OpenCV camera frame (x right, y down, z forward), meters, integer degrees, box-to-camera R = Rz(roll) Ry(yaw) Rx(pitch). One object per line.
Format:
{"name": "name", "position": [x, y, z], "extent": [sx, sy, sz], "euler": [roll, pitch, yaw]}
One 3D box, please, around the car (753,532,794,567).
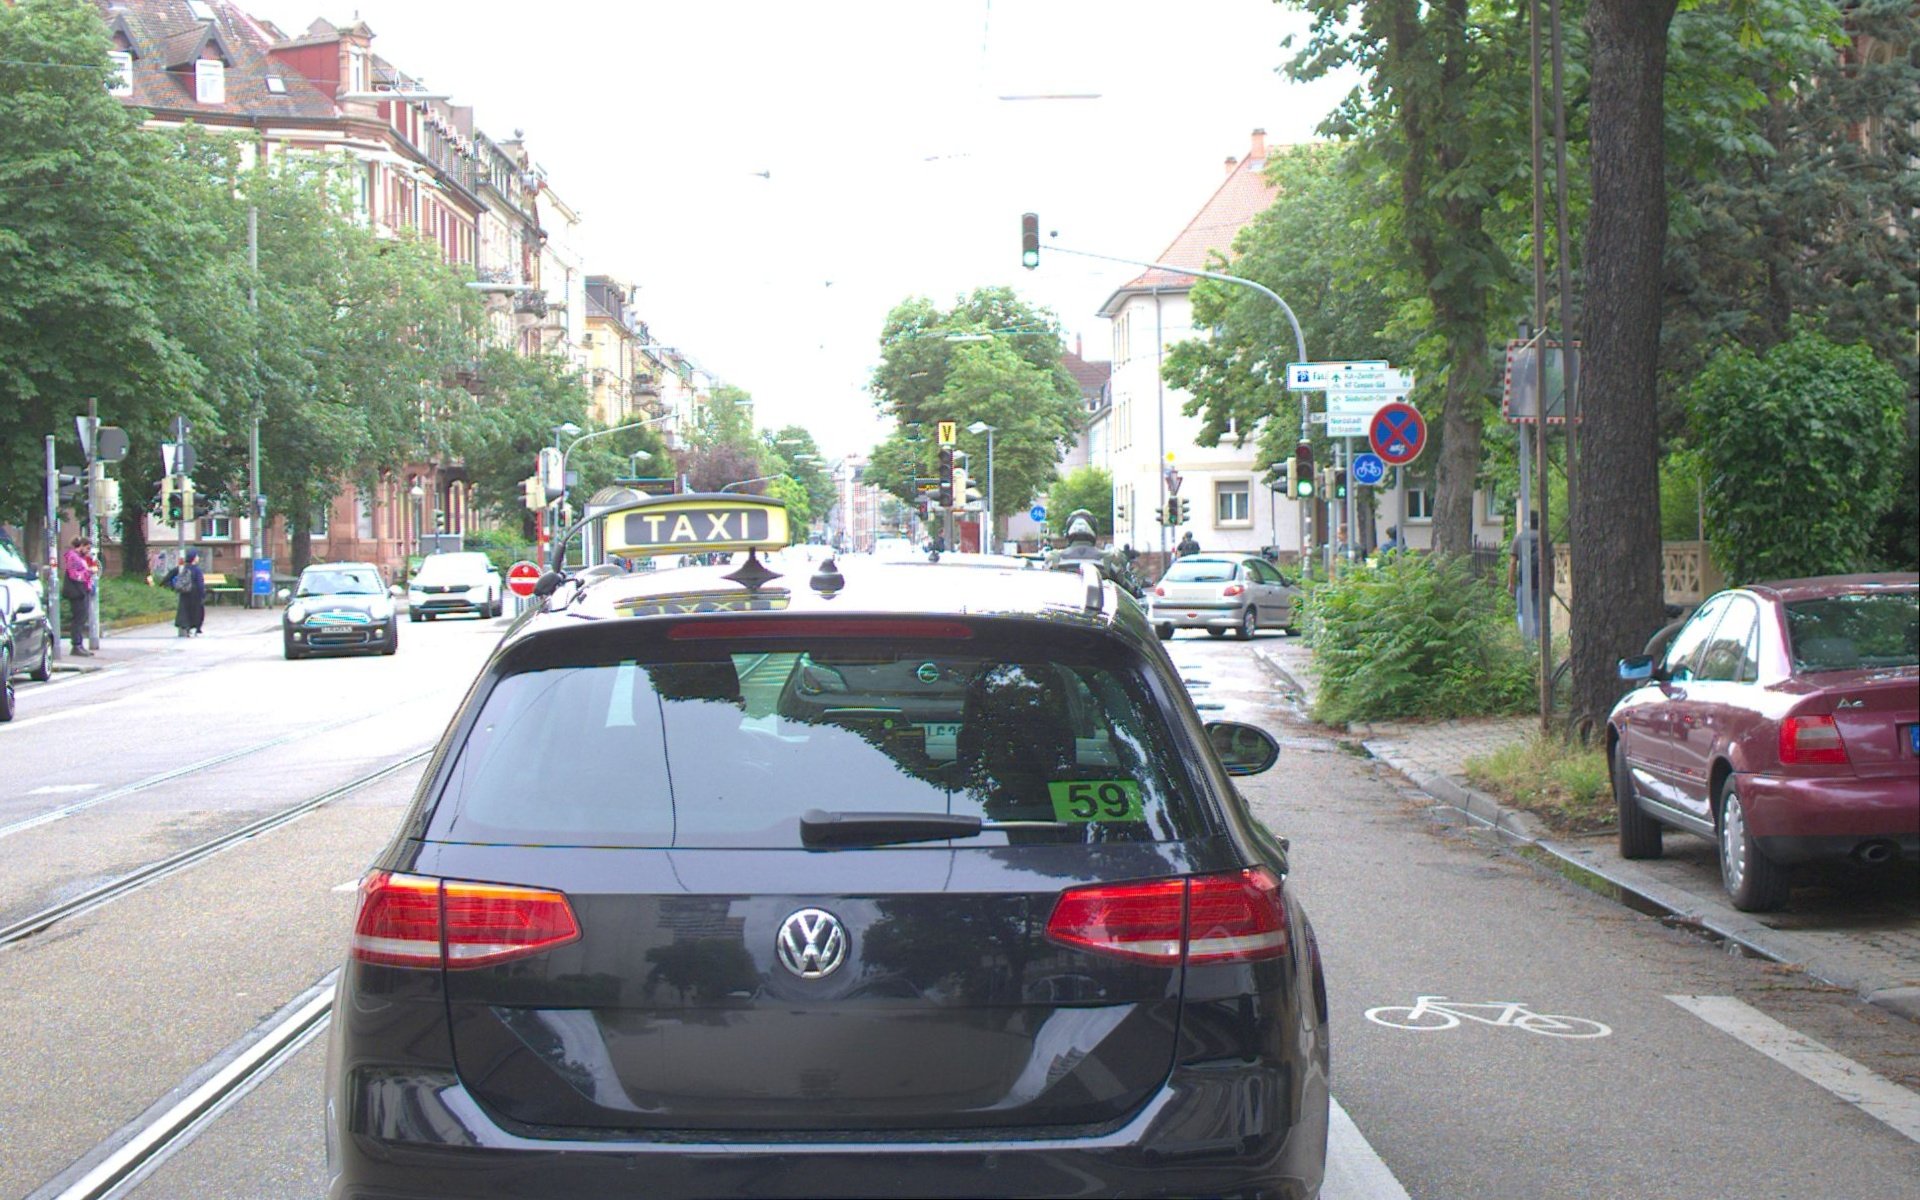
{"name": "car", "position": [-8.708, -2.366, 160.517], "extent": [1.721, 1.617, 3.864], "euler": [-1, 1, -1]}

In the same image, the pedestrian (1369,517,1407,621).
{"name": "pedestrian", "position": [7.674, -0.554, 61.616], "extent": [0.514, 1.824, 0.417], "euler": [-3, 1, 16]}

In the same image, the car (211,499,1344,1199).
{"name": "car", "position": [-0.297, 0.581, 7.245], "extent": [1.723, 1.541, 4.000], "euler": [0, 1, -1]}

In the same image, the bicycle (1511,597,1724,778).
{"name": "bicycle", "position": [4.503, 0.579, 23.461], "extent": [0.433, 1.194, 1.899], "euler": [0, 0, 45]}

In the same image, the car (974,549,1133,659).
{"name": "car", "position": [1.335, 0.030, 47.371], "extent": [1.892, 1.403, 3.999], "euler": [-1, 1, 6]}

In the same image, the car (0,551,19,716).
{"name": "car", "position": [-10.166, 0.385, 32.460], "extent": [1.882, 1.606, 4.889], "euler": [-3, 1, -9]}

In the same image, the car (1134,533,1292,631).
{"name": "car", "position": [4.293, -0.302, 57.797], "extent": [1.995, 1.572, 3.997], "euler": [1, 0, 14]}

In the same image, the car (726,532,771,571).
{"name": "car", "position": [-8.955, -2.066, 145.792], "extent": [1.721, 1.617, 3.864], "euler": [-1, 1, -1]}

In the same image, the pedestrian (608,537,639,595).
{"name": "pedestrian", "position": [-8.827, -0.903, 90.214], "extent": [0.714, 1.515, 0.590], "euler": [-1, 1, 1]}

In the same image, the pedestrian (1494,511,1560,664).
{"name": "pedestrian", "position": [6.820, -0.156, 41.392], "extent": [0.632, 1.808, 0.726], "euler": [-1, 1, -3]}

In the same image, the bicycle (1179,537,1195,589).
{"name": "bicycle", "position": [5.456, -0.896, 82.562], "extent": [0.297, 1.219, 1.430], "euler": [-1, 1, 7]}

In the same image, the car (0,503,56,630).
{"name": "car", "position": [-20.068, -0.650, 67.519], "extent": [2.180, 2.409, 5.377], "euler": [-1, 1, -43]}

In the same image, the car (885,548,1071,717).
{"name": "car", "position": [0.143, 0.272, 33.815], "extent": [1.723, 1.541, 4.000], "euler": [0, 1, -1]}

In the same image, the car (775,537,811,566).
{"name": "car", "position": [-8.616, -2.514, 178.010], "extent": [1.721, 1.460, 3.864], "euler": [-1, 1, -1]}

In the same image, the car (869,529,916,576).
{"name": "car", "position": [-2.938, -2.077, 150.906], "extent": [2.033, 2.007, 4.000], "euler": [0, 0, -1]}

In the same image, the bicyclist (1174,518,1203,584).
{"name": "bicyclist", "position": [5.499, -1.184, 82.676], "extent": [0.651, 1.563, 0.695], "euler": [-1, 1, 6]}

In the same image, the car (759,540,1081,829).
{"name": "car", "position": [-0.237, 0.419, 20.429], "extent": [1.723, 1.541, 4.000], "euler": [0, 1, -1]}

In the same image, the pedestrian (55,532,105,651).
{"name": "pedestrian", "position": [-13.718, -0.132, 53.625], "extent": [0.623, 1.836, 0.610], "euler": [-1, 1, -3]}

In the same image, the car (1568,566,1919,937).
{"name": "car", "position": [4.051, 0.591, 15.975], "extent": [1.602, 1.394, 4.227], "euler": [-2, 1, -1]}

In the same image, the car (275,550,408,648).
{"name": "car", "position": [-9.610, -0.038, 53.597], "extent": [1.608, 1.417, 3.487], "euler": [-2, 1, -4]}

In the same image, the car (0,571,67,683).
{"name": "car", "position": [-12.977, 0.312, 45.034], "extent": [1.648, 1.357, 4.130], "euler": [2, 1, -3]}

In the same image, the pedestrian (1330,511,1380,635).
{"name": "pedestrian", "position": [5.972, -0.413, 51.982], "extent": [0.585, 1.824, 0.604], "euler": [-4, 1, 1]}

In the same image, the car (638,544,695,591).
{"name": "car", "position": [-10.391, -1.158, 121.806], "extent": [1.721, 1.617, 3.864], "euler": [-1, 1, -1]}

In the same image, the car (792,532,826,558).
{"name": "car", "position": [-9.539, -3.464, 216.798], "extent": [1.795, 1.590, 4.000], "euler": [-1, 1, 2]}

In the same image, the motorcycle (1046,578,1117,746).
{"name": "motorcycle", "position": [0.930, 0.458, 26.682], "extent": [0.446, 1.231, 1.907], "euler": [-1, 1, -1]}

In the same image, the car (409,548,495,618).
{"name": "car", "position": [-11.464, -0.405, 77.721], "extent": [1.698, 1.491, 3.931], "euler": [-2, 1, -6]}

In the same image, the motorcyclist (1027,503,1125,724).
{"name": "motorcyclist", "position": [0.896, 0.098, 26.775], "extent": [0.703, 1.686, 0.804], "euler": [-1, 1, -1]}

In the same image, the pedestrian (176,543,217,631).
{"name": "pedestrian", "position": [-14.653, -0.256, 65.982], "extent": [0.589, 1.657, 0.839], "euler": [-1, 1, 0]}
